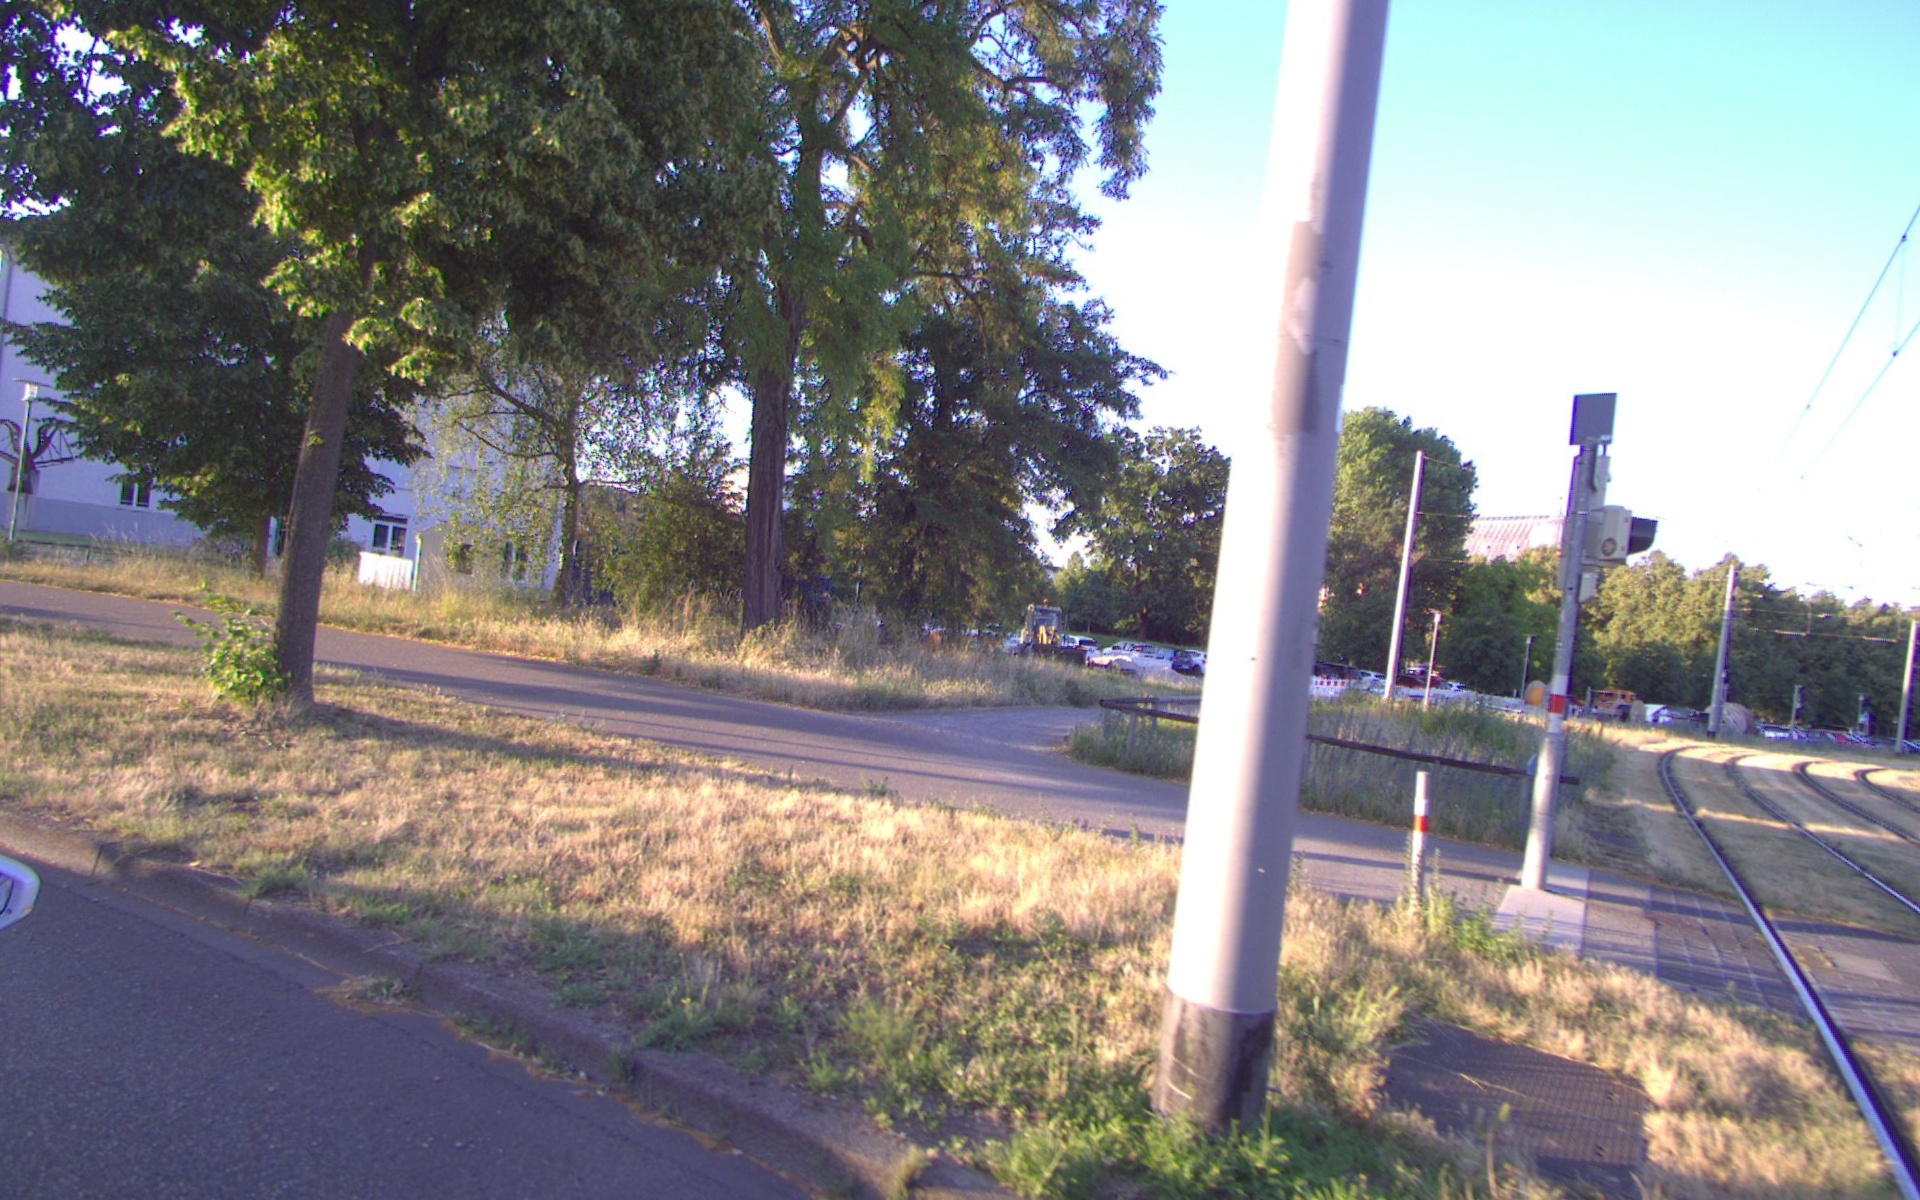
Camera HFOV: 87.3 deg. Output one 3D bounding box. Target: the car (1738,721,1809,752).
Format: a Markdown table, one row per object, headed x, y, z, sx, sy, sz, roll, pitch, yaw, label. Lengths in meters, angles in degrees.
| x | y | z | sx | sy | sz | roll | pitch | yaw | label |
| --- | --- | --- | --- | --- | --- | --- | --- | --- | --- |
| 58.487 | 9.778 | 72.371 | 1.697 | 1.499 | 3.575 | 9 | -1 | -37 | car |

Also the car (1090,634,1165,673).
| x | y | z | sx | sy | sz | roll | pitch | yaw | label |
| --- | --- | --- | --- | --- | --- | --- | --- | --- | --- |
| 9.591 | 3.060 | 57.827 | 1.934 | 1.682 | 3.964 | 7 | -1 | -34 | car |

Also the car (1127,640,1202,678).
| x | y | z | sx | sy | sz | roll | pitch | yaw | label |
| --- | --- | --- | --- | --- | --- | --- | --- | --- | --- |
| 11.903 | 3.433 | 58.676 | 1.934 | 1.682 | 3.964 | 7 | -1 | -34 | car |

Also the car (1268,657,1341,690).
| x | y | z | sx | sy | sz | roll | pitch | yaw | label |
| --- | --- | --- | --- | --- | --- | --- | --- | --- | --- |
| 21.969 | 4.685 | 64.348 | 1.885 | 1.572 | 3.964 | 7 | -1 | -34 | car |

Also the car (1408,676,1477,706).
| x | y | z | sx | sy | sz | roll | pitch | yaw | label |
| --- | --- | --- | --- | --- | --- | --- | --- | --- | --- |
| 34.698 | 6.518 | 72.386 | 1.885 | 1.572 | 3.964 | 7 | -1 | -34 | car |

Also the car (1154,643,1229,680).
| x | y | z | sx | sy | sz | roll | pitch | yaw | label |
| --- | --- | --- | --- | --- | --- | --- | --- | --- | --- |
| 13.740 | 3.624 | 59.881 | 1.934 | 1.682 | 3.964 | 7 | -1 | -34 | car |

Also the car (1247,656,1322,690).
| x | y | z | sx | sy | sz | roll | pitch | yaw | label |
| --- | --- | --- | --- | --- | --- | --- | --- | --- | --- |
| 20.332 | 4.543 | 63.174 | 1.885 | 1.572 | 4.062 | 7 | -1 | -34 | car |

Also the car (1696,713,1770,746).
| x | y | z | sx | sy | sz | roll | pitch | yaw | label |
| --- | --- | --- | --- | --- | --- | --- | --- | --- | --- |
| 53.074 | 8.884 | 69.090 | 1.697 | 1.499 | 3.575 | 9 | -1 | -37 | car |

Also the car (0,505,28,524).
| x | y | z | sx | sy | sz | roll | pitch | yaw | label |
| --- | --- | --- | --- | --- | --- | --- | --- | --- | --- |
| -82.890 | -7.506 | 87.346 | 1.860 | 1.418 | 3.890 | 7 | -1 | -28 | car |

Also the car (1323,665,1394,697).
| x | y | z | sx | sy | sz | roll | pitch | yaw | label |
| --- | --- | --- | --- | --- | --- | --- | --- | --- | --- |
| 26.746 | 5.407 | 67.650 | 1.885 | 1.572 | 3.964 | 7 | -1 | -34 | car |

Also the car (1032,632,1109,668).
| x | y | z | sx | sy | sz | roll | pitch | yaw | label |
| --- | --- | --- | --- | --- | --- | --- | --- | --- | --- |
| 5.968 | 2.702 | 54.746 | 1.934 | 1.463 | 3.964 | 7 | -1 | -34 | car |

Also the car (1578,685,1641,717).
| x | y | z | sx | sy | sz | roll | pitch | yaw | label |
| --- | --- | --- | --- | --- | --- | --- | --- | --- | --- |
| 55.340 | 8.599 | 85.778 | 1.885 | 2.121 | 3.964 | 7 | -1 | -34 | car |

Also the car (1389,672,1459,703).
| x | y | z | sx | sy | sz | roll | pitch | yaw | label |
| --- | --- | --- | --- | --- | --- | --- | --- | --- | --- |
| 32.728 | 6.165 | 70.977 | 1.885 | 1.572 | 3.964 | 7 | -1 | -34 | car |

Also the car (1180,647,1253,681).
| x | y | z | sx | sy | sz | roll | pitch | yaw | label |
| --- | --- | --- | --- | --- | --- | --- | --- | --- | --- |
| 15.686 | 3.884 | 61.602 | 1.885 | 1.572 | 3.964 | 7 | -1 | -34 | car |

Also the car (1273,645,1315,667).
| x | y | z | sx | sy | sz | roll | pitch | yaw | label |
| --- | --- | --- | --- | --- | --- | --- | --- | --- | --- |
| 35.811 | 6.017 | 107.849 | 3.961 | 1.765 | 1.983 | 9 | -1 | -32 | car |

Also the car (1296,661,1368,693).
| x | y | z | sx | sy | sz | roll | pitch | yaw | label |
| --- | --- | --- | --- | --- | --- | --- | --- | --- | --- |
| 24.356 | 5.016 | 65.933 | 1.885 | 1.572 | 3.964 | 7 | -1 | -34 | car |

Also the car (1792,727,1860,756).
| x | y | z | sx | sy | sz | roll | pitch | yaw | label |
| --- | --- | --- | --- | --- | --- | --- | --- | --- | --- |
| 66.556 | 10.838 | 77.386 | 1.697 | 1.499 | 3.575 | 9 | -1 | -37 | car |

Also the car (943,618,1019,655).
| x | y | z | sx | sy | sz | roll | pitch | yaw | label |
| --- | --- | --- | --- | --- | --- | --- | --- | --- | --- |
| 1.056 | 1.884 | 52.433 | 1.934 | 1.463 | 3.964 | 7 | -1 | -34 | car |
